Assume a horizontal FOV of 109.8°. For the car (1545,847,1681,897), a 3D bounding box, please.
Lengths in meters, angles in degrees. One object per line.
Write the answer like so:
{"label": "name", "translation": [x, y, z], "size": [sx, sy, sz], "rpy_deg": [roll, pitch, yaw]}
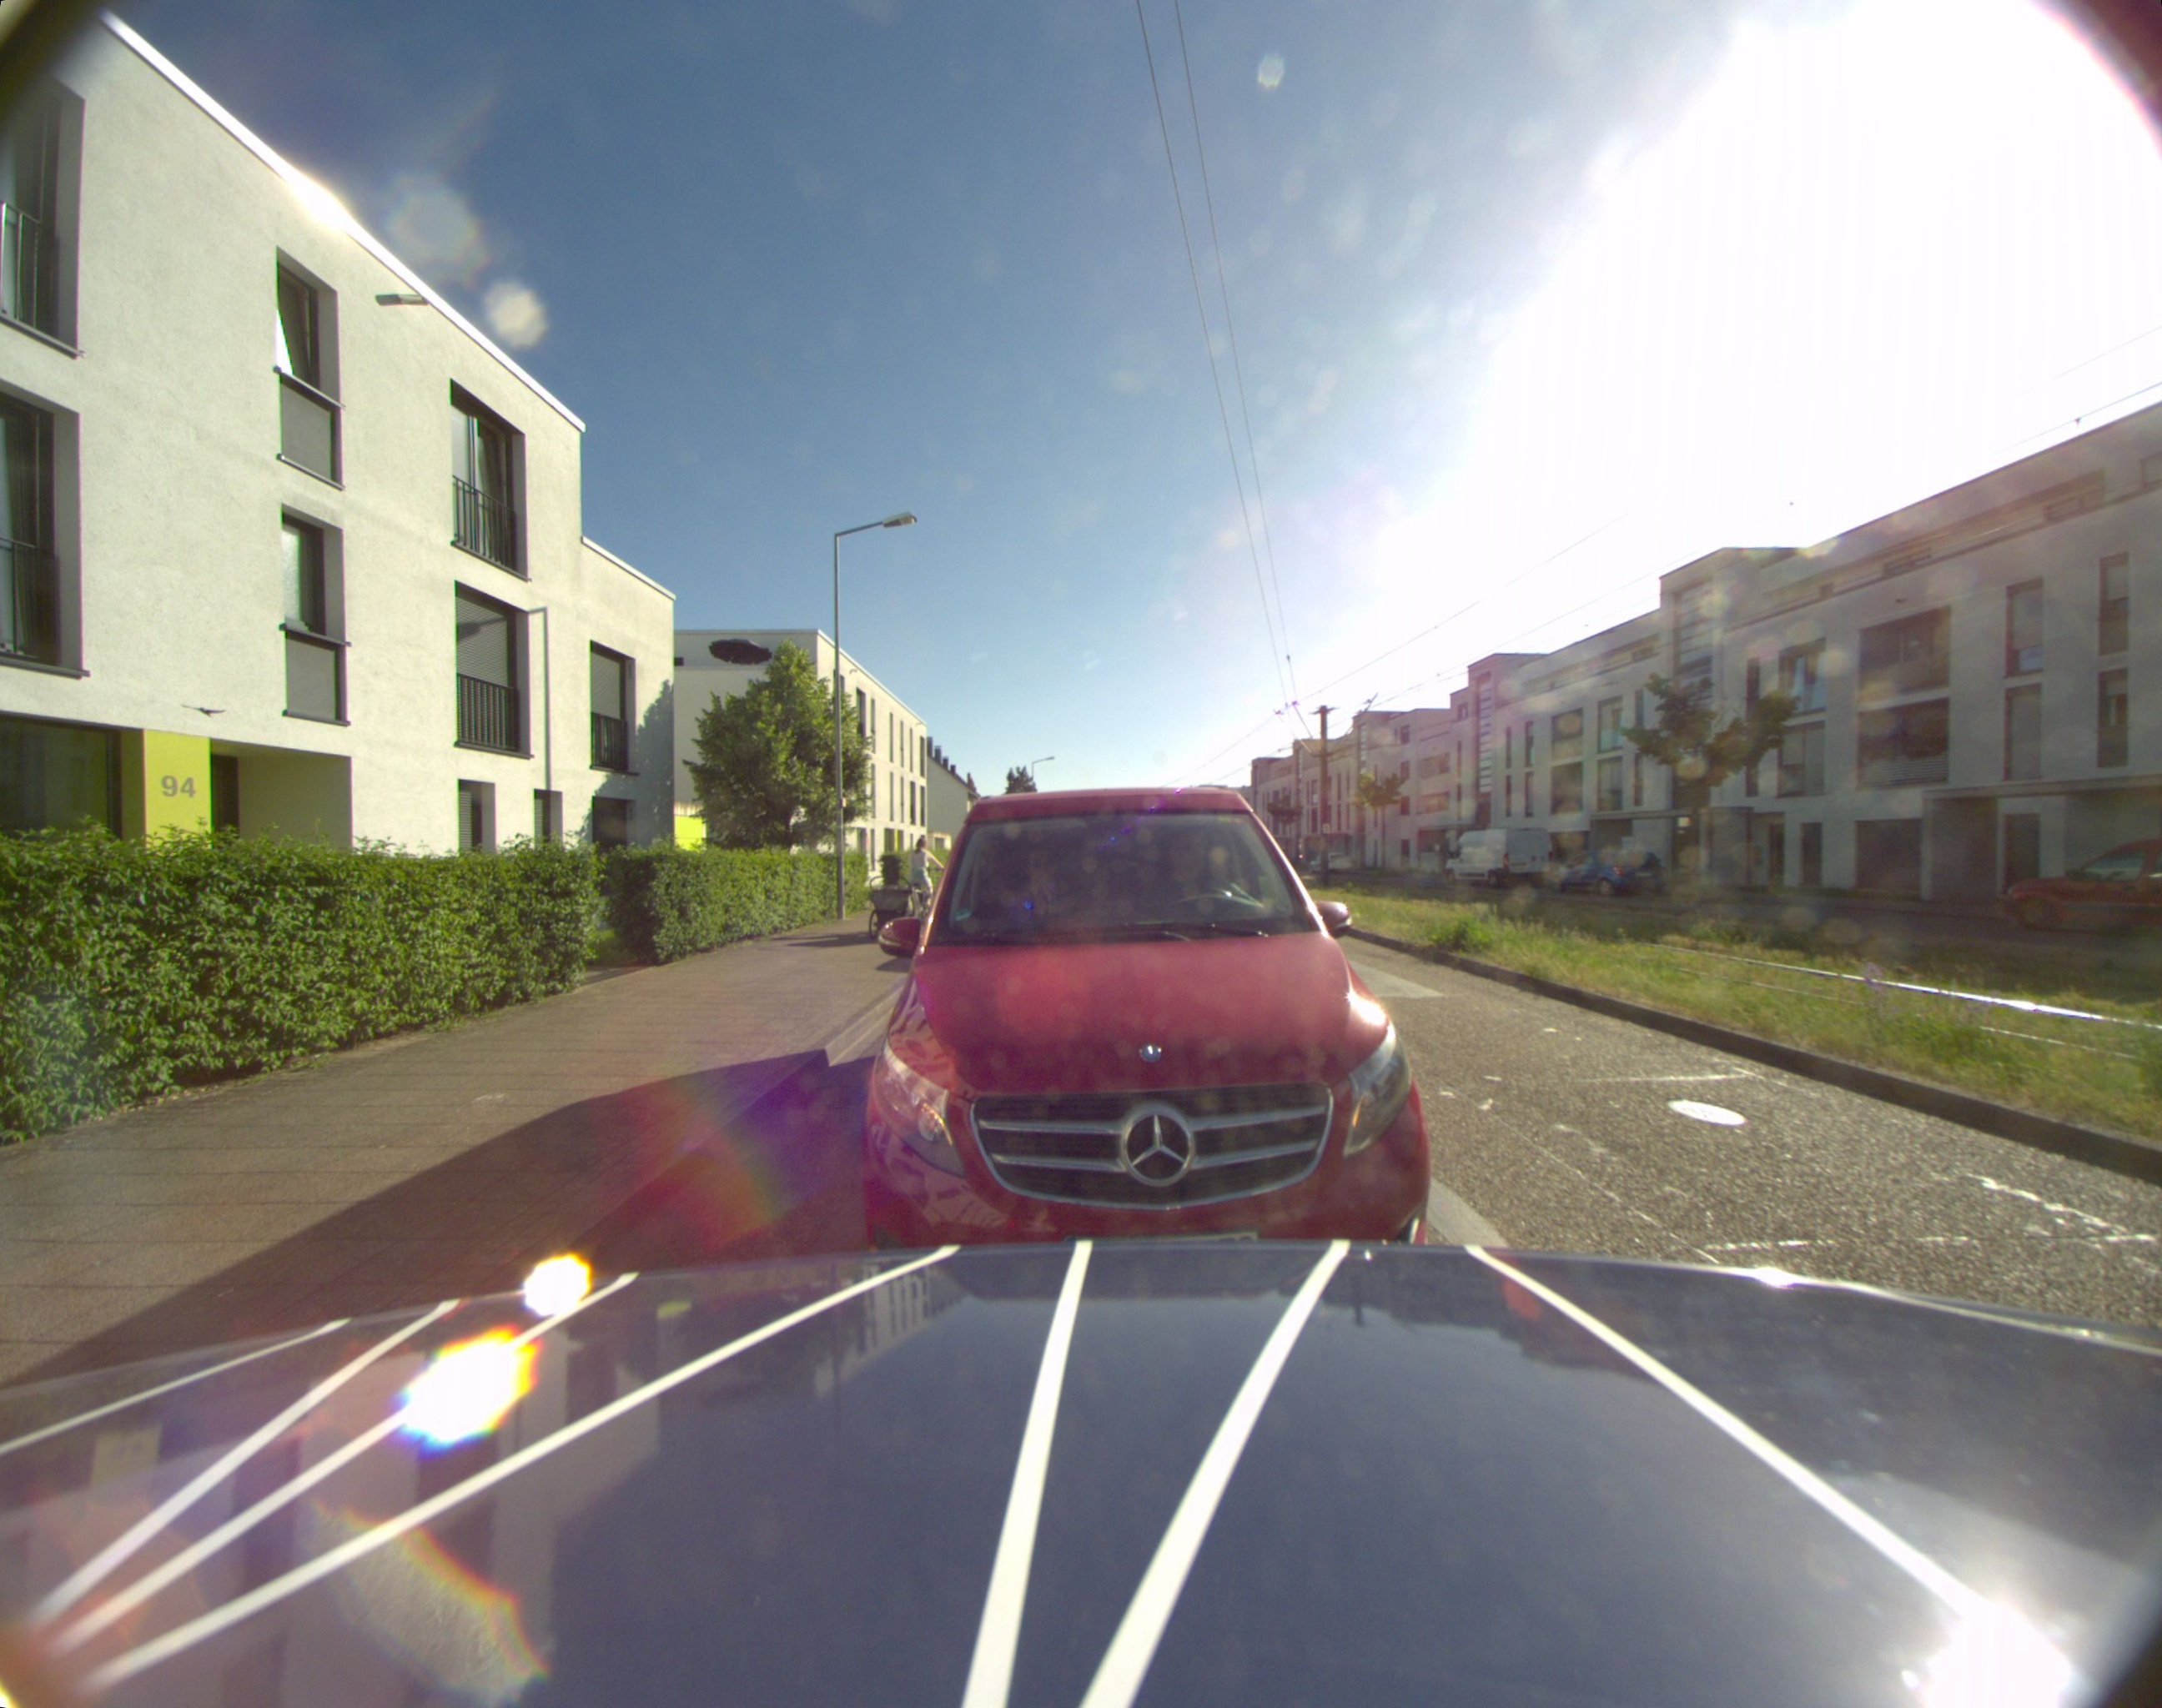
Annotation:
{"label": "car", "translation": [18.380, 0.577, 26.489], "size": [1.998, 1.536, 3.835], "rpy_deg": [-2, 1, 0]}

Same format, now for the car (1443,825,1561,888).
{"label": "car", "translation": [18.172, 0.075, 33.160], "size": [2.225, 2.458, 5.195], "rpy_deg": [-2, 1, 0]}

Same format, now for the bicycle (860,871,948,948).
{"label": "bicycle", "translation": [-3.147, 0.935, 13.889], "size": [0.931, 1.166, 3.124], "rpy_deg": [0, 1, -1]}

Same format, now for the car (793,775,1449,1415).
{"label": "car", "translation": [0.154, 0.699, 4.500], "size": [1.874, 1.843, 4.506], "rpy_deg": [-2, 1, 1]}

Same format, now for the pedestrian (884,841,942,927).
{"label": "pedestrian", "translation": [-3.155, 0.544, 14.356], "size": [0.913, 1.585, 0.854], "rpy_deg": [0, 1, -1]}

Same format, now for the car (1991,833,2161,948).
{"label": "car", "translation": [18.619, 0.580, 12.798], "size": [1.998, 1.817, 3.895], "rpy_deg": [-2, 1, 3]}

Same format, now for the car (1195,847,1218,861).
{"label": "car", "translation": [15.481, -0.041, 93.895], "size": [1.923, 1.671, 4.282], "rpy_deg": [-2, 1, -4]}

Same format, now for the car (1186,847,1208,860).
{"label": "car", "translation": [15.194, -0.064, 99.647], "size": [1.923, 1.671, 4.282], "rpy_deg": [-2, 1, -4]}

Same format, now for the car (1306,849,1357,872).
{"label": "car", "translation": [17.638, 0.414, 53.729], "size": [1.923, 1.497, 4.282], "rpy_deg": [-2, 1, -4]}

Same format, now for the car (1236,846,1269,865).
{"label": "car", "translation": [16.724, 0.131, 74.343], "size": [1.923, 1.671, 4.282], "rpy_deg": [-2, 1, -4]}

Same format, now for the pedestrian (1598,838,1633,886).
{"label": "pedestrian", "translation": [20.654, 0.310, 29.354], "size": [0.776, 1.812, 0.785], "rpy_deg": [-2, 1, 1]}
